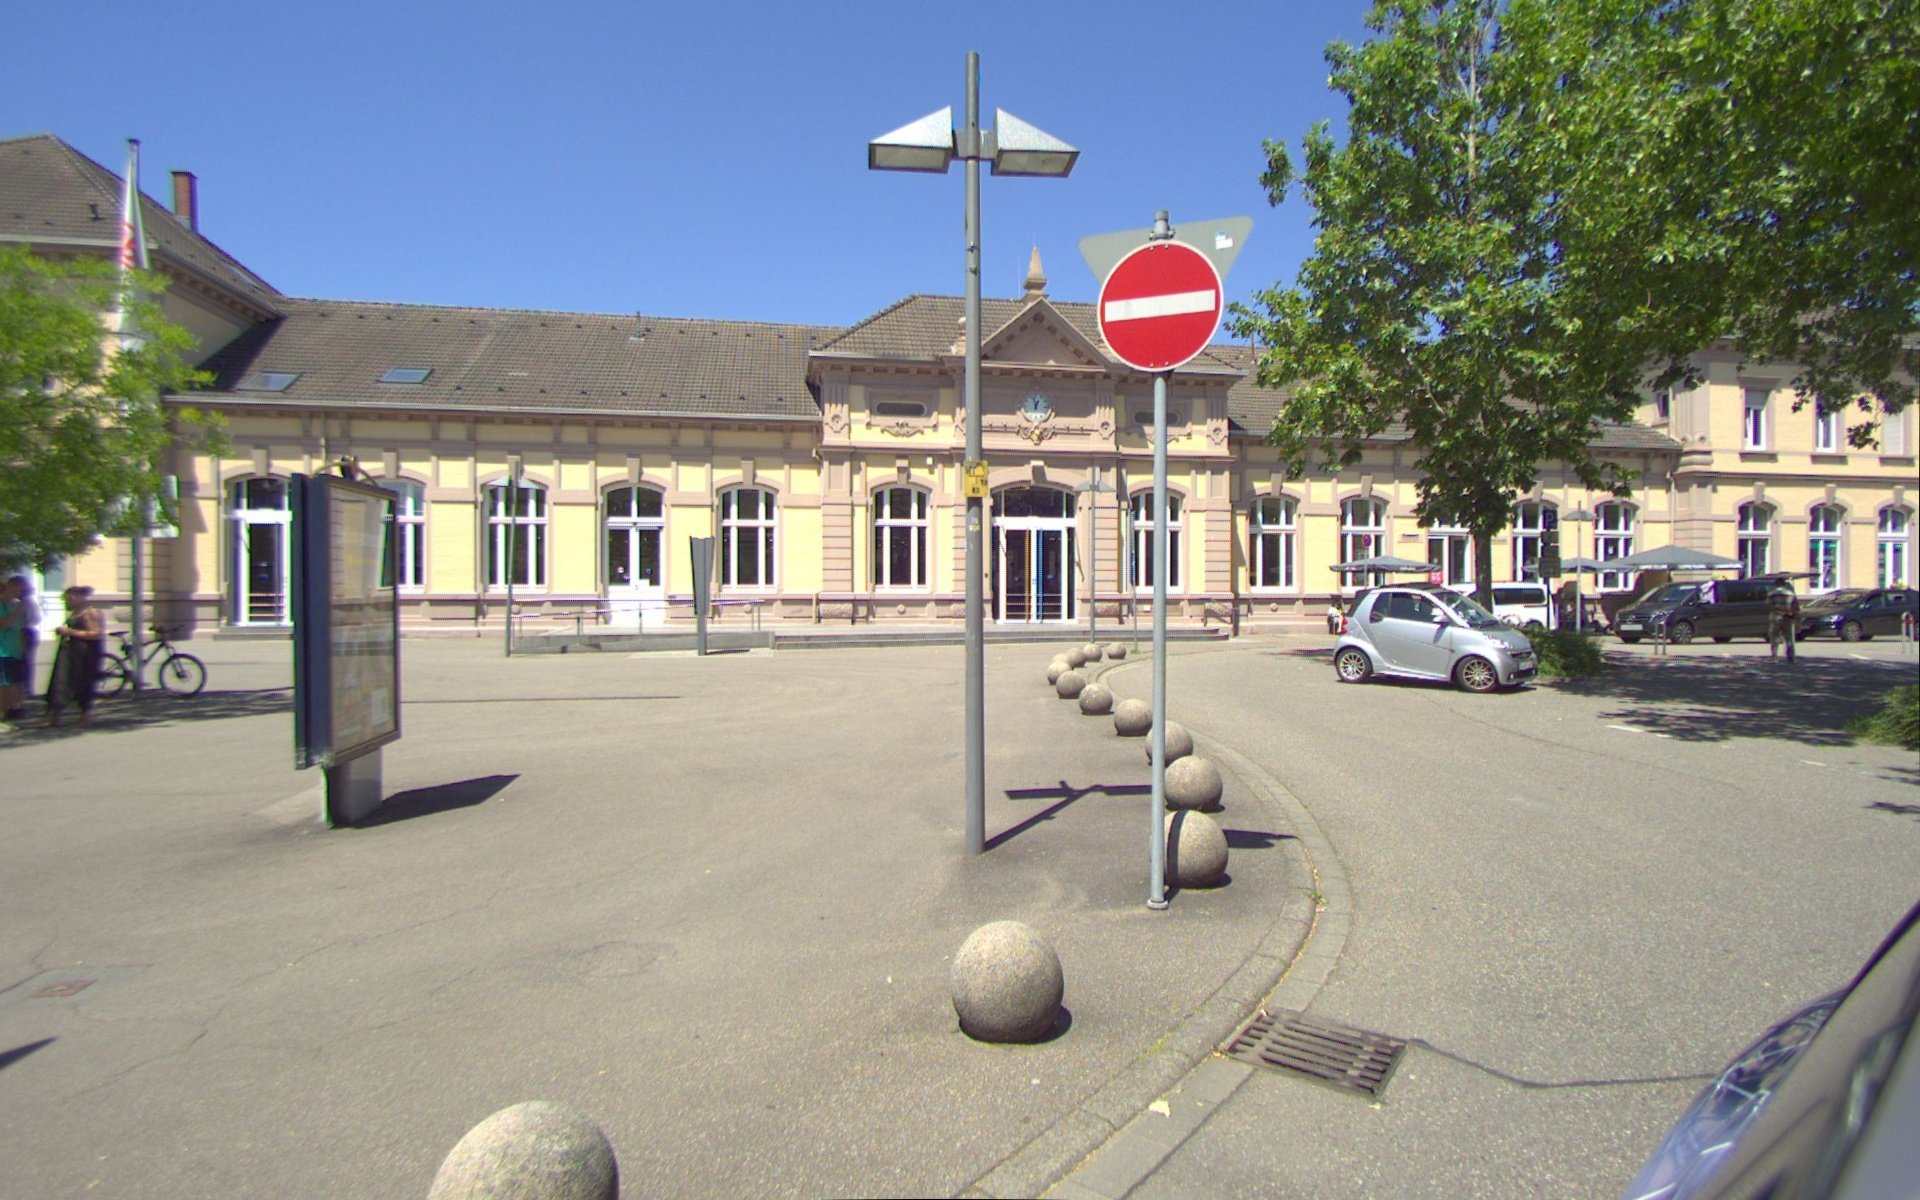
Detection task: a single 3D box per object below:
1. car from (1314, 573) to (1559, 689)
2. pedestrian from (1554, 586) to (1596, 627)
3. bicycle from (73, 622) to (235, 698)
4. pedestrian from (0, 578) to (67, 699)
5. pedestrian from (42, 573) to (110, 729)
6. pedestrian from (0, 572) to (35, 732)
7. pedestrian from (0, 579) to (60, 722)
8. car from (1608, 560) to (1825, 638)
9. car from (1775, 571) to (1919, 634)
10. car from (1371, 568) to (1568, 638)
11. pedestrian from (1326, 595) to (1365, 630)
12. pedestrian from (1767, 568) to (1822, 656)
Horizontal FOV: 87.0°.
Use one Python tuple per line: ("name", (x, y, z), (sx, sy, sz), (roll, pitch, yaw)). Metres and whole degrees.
("car", (7.337, 0.414, 15.762), (1.573, 1.613, 3.103), (0, 1, -39))
("pedestrian", (21.569, 0.225, 35.487), (0.834, 1.388, 0.884), (0, 2, -14))
("bicycle", (-12.012, 0.884, 15.122), (1.908, 1.073, 0.422), (0, 0, -12))
("pedestrian", (-13.475, 0.541, 14.698), (0.578, 1.706, 0.620), (0, 0, -23))
("pedestrian", (-10.313, 0.570, 11.820), (0.537, 1.761, 0.627), (0, 0, -36))
("pedestrian", (-11.008, 0.576, 11.540), (0.574, 1.786, 0.694), (0, 0, -33))
("pedestrian", (-11.830, 0.612, 12.815), (0.588, 1.761, 0.585), (0, 0, -36))
("car", (22.392, 0.005, 29.988), (5.703, 2.151, 2.098), (1, -1, -15))
("car", (28.326, 0.092, 31.626), (4.738, 1.864, 2.085), (1, -1, -15))
("car", (14.549, 0.102, 28.957), (5.031, 1.889, 1.818), (1, -1, -13))
("pedestrian", (12.798, 0.413, 33.655), (0.834, 1.093, 0.884), (0, 2, -14))
("pedestrian", (17.069, 0.232, 20.715), (0.768, 1.739, 0.805), (0, 0, 33))
